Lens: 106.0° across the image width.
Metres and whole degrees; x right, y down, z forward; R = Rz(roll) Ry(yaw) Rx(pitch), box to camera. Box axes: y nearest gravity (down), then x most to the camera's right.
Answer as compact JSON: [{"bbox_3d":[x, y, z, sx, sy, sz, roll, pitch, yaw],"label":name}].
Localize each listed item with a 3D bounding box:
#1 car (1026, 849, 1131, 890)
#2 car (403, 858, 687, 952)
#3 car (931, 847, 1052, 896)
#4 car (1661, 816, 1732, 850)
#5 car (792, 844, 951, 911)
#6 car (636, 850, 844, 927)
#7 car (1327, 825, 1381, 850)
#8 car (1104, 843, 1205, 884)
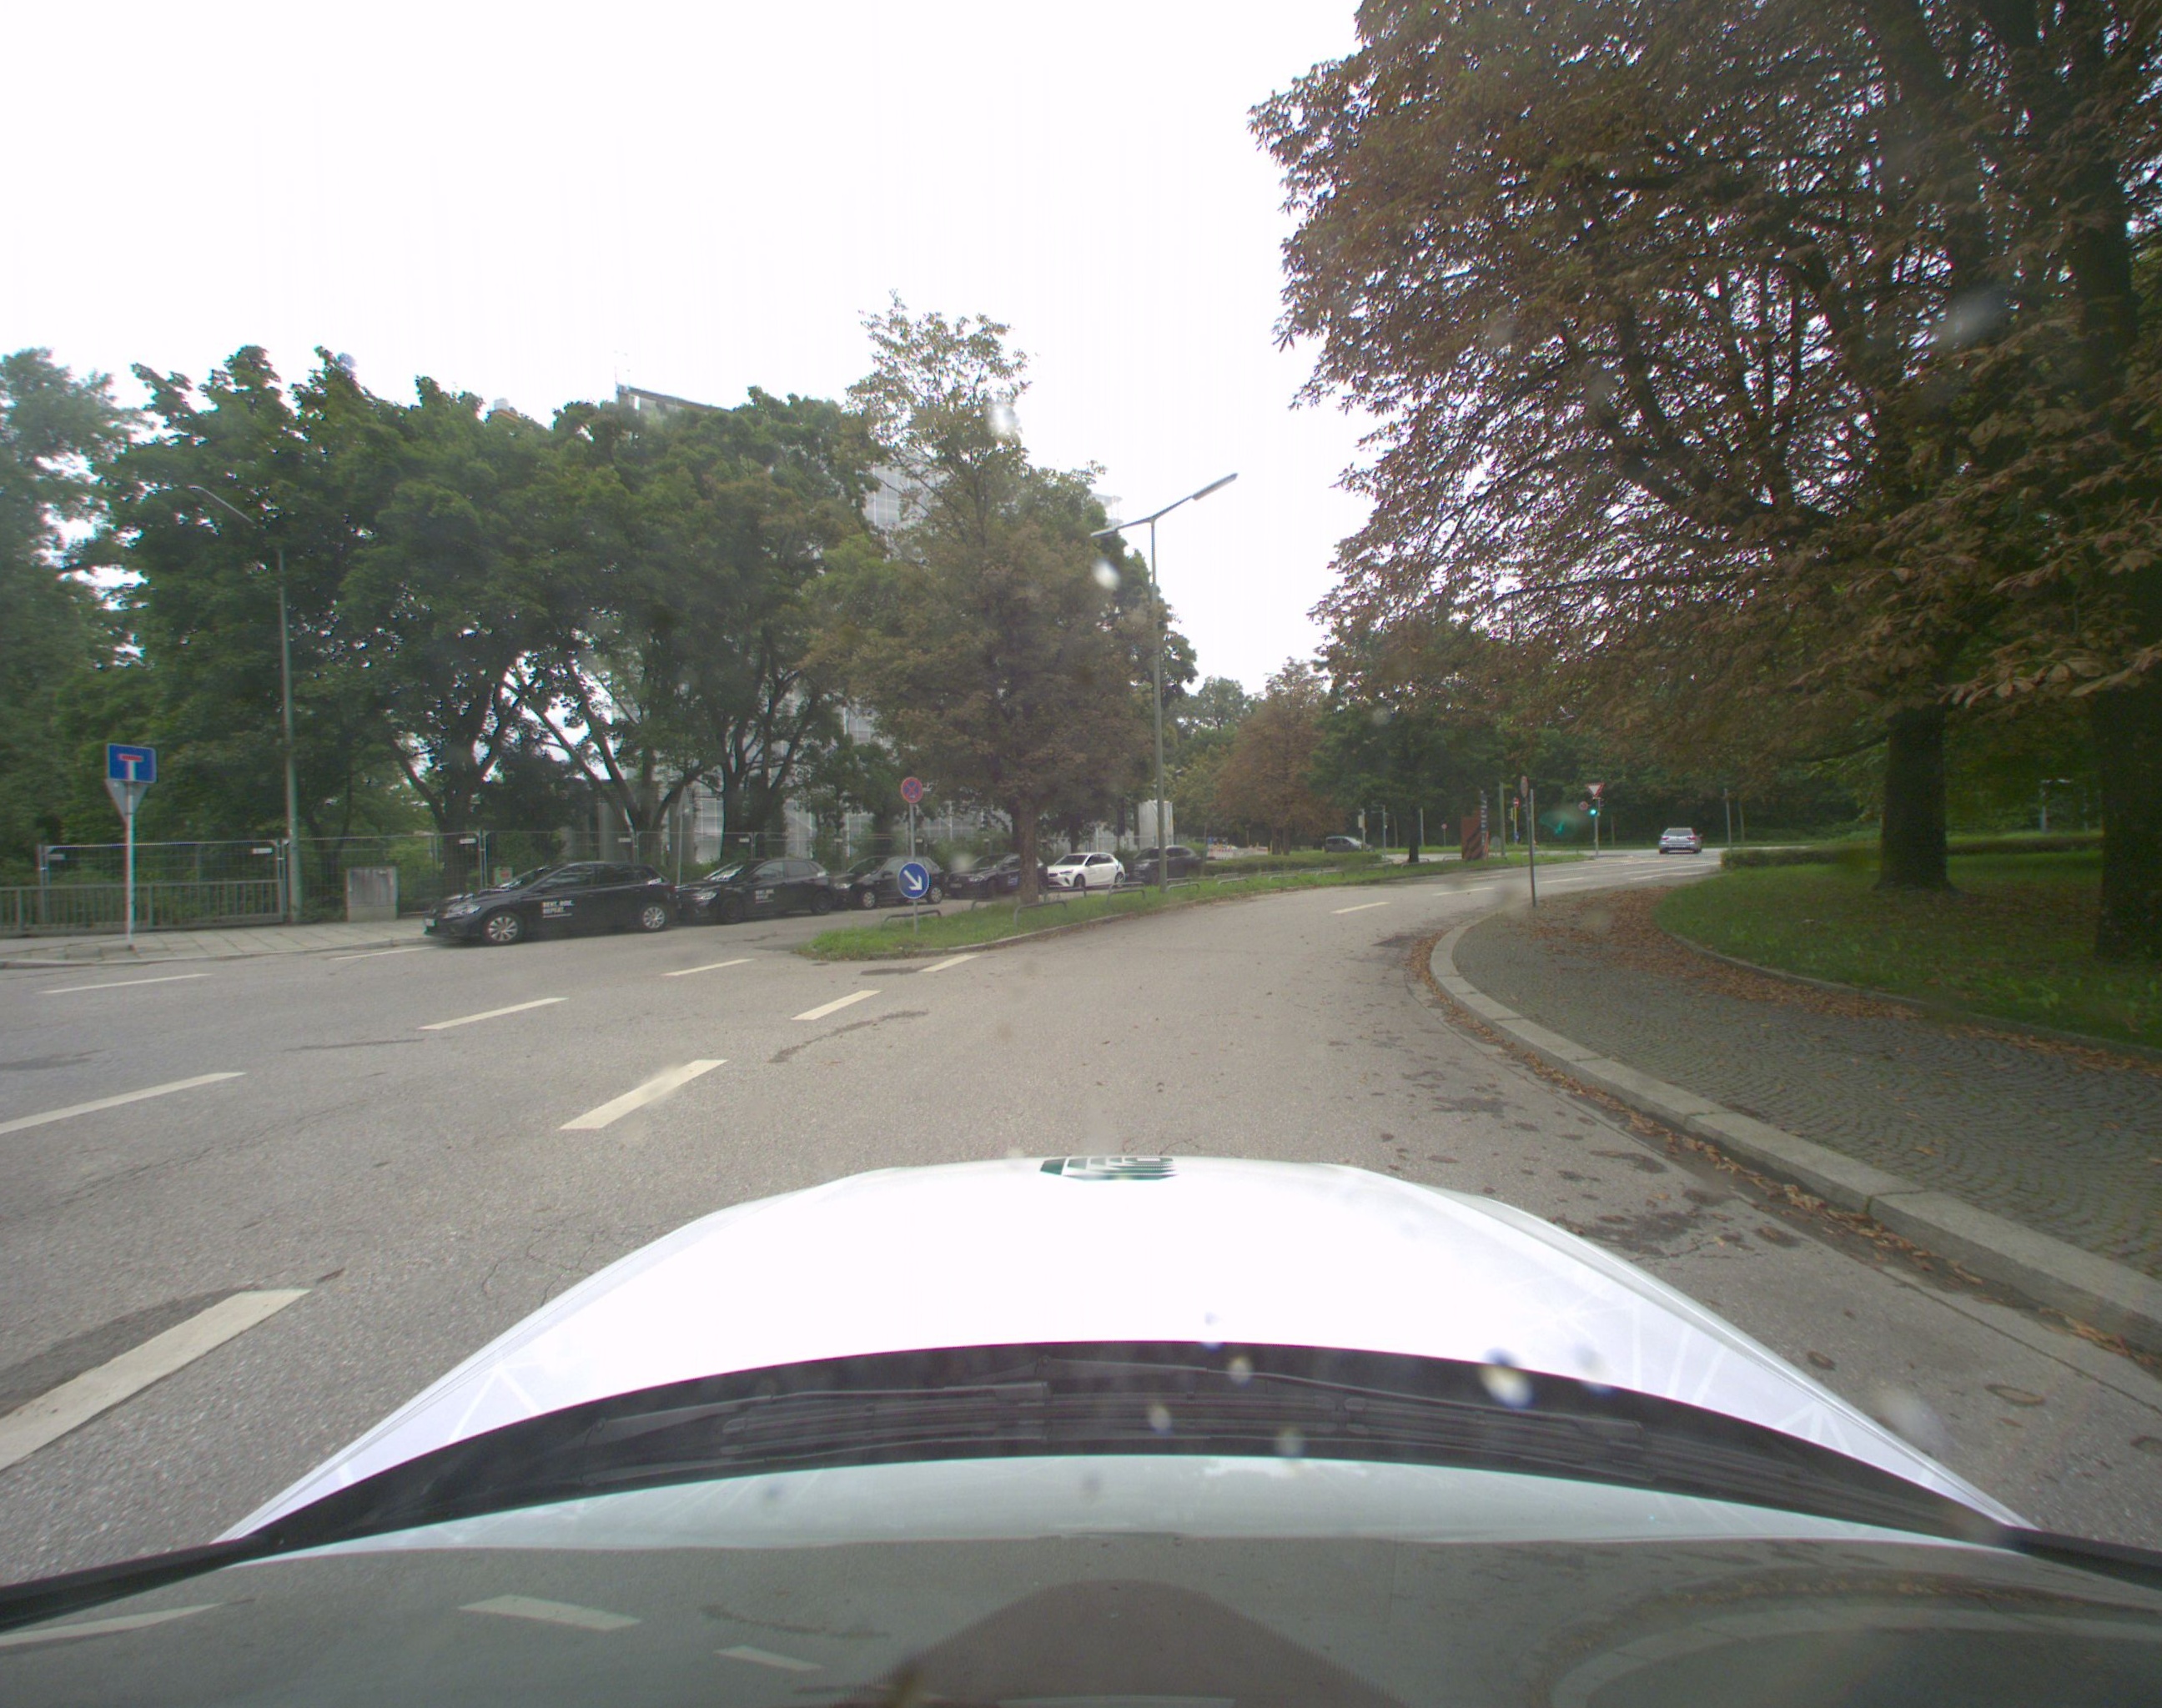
[{"bbox_3d":[-0.018,0.563,31.144,1.778,1.383,4.245,-2,0,36],"label":"car"},{"bbox_3d":[-10.039,0.843,15.565,1.974,1.432,4.069,0,1,34],"label":"car"},{"bbox_3d":[-2.889,0.536,27.149,1.816,1.461,4.031,-2,0,34],"label":"car"},{"bbox_3d":[33.474,-1.154,44.262,4.144,1.750,1.978,-2,0,-37],"label":"car"},{"bbox_3d":[-5.844,0.601,23.100,1.974,1.706,4.026,-2,0,34],"label":"car"},{"bbox_3d":[-7.834,0.729,19.062,1.974,1.541,4.026,-2,0,34],"label":"car"},{"bbox_3d":[23.265,-1.363,69.499,2.009,2.013,3.955,-2,0,-37],"label":"car"},{"bbox_3d":[3.190,0.421,34.601,1.868,1.606,4.422,-2,-2,44],"label":"car"}]
